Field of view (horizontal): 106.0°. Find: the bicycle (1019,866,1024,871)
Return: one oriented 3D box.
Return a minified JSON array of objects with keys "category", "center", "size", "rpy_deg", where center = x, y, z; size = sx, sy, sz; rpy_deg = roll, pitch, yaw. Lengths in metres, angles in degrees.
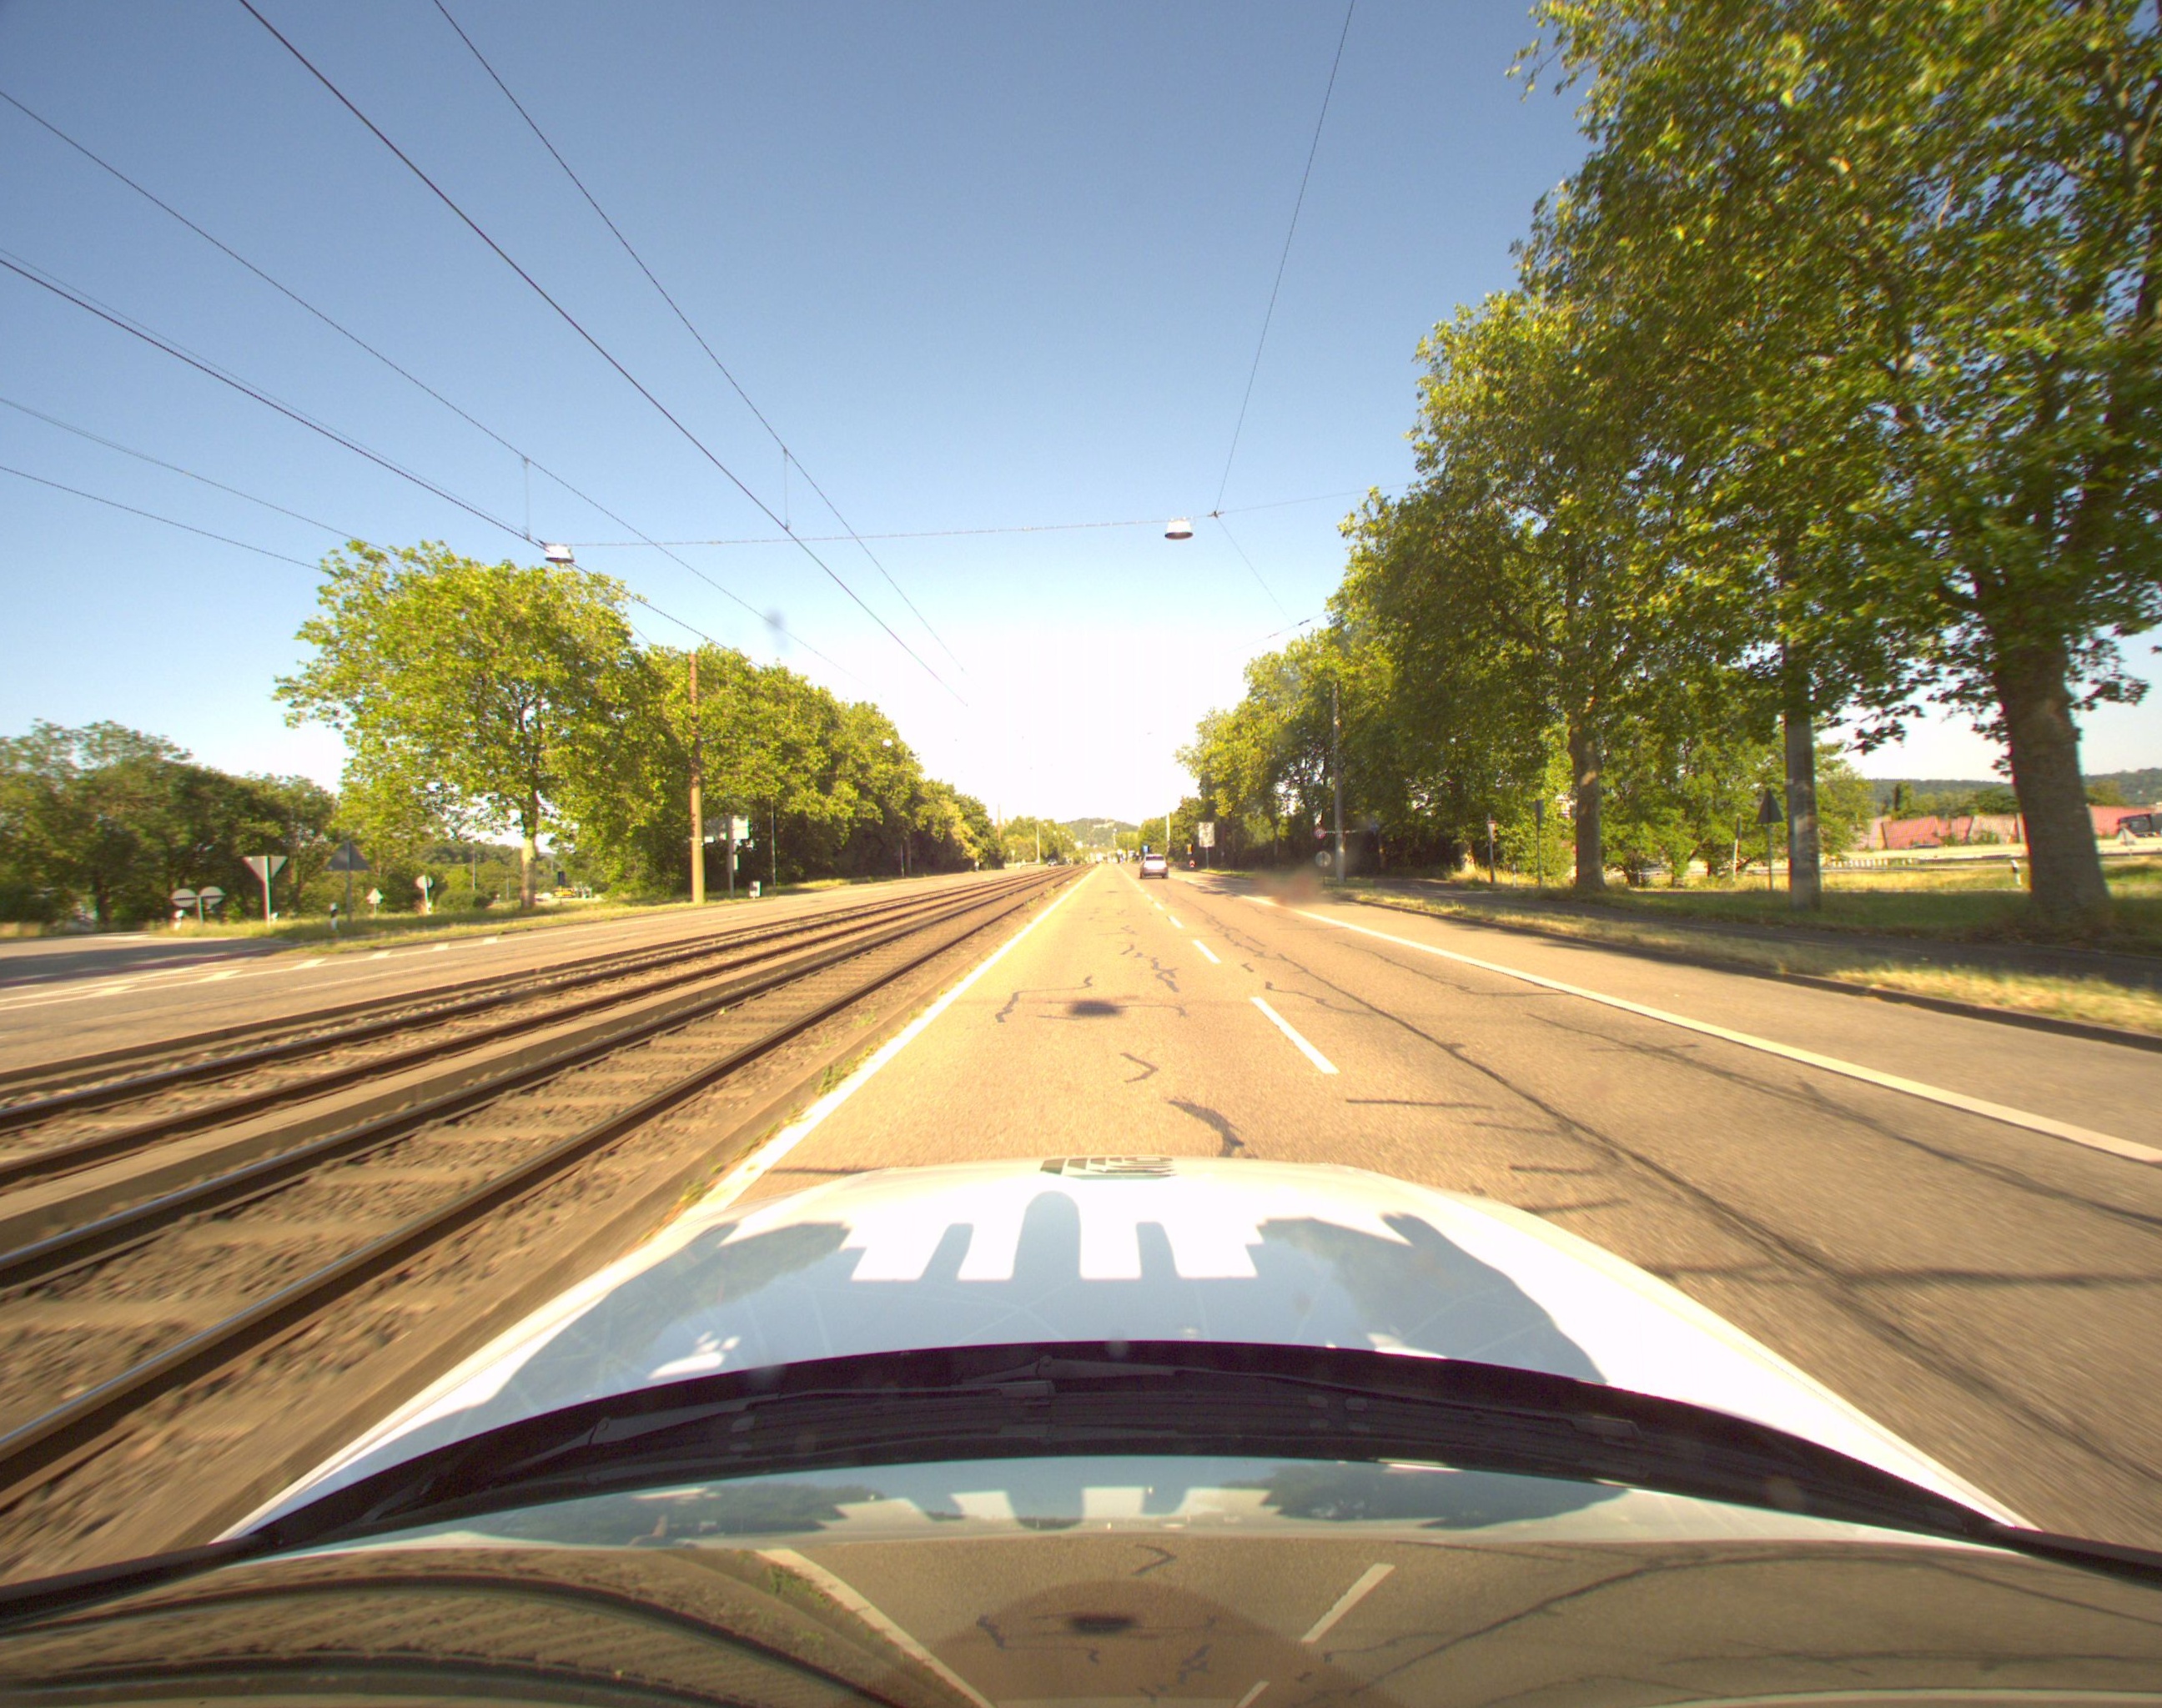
[{"category":"bicycle","center":[-10.628,2.536,146.177],"size":[0.505,0.892,2.030],"rpy_deg":[0,-1,5]}]

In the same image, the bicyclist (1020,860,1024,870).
[{"category":"bicyclist","center":[-10.634,1.989,146.167],"size":[0.505,1.687,0.920],"rpy_deg":[0,-1,5]}]

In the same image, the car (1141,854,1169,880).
[{"category":"car","center":[5.127,0.916,56.891],"size":[1.880,1.693,4.261],"rpy_deg":[-1,-1,4]}]

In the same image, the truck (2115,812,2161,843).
[{"category":"truck","center":[140.855,-3.485,105.920],"size":[7.246,3.840,3.153],"rpy_deg":[0,-1,32]}]

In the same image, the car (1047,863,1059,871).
[{"category":"car","center":[-6.583,2.974,190.652],"size":[1.984,1.685,4.802],"rpy_deg":[-3,-1,5]}]
